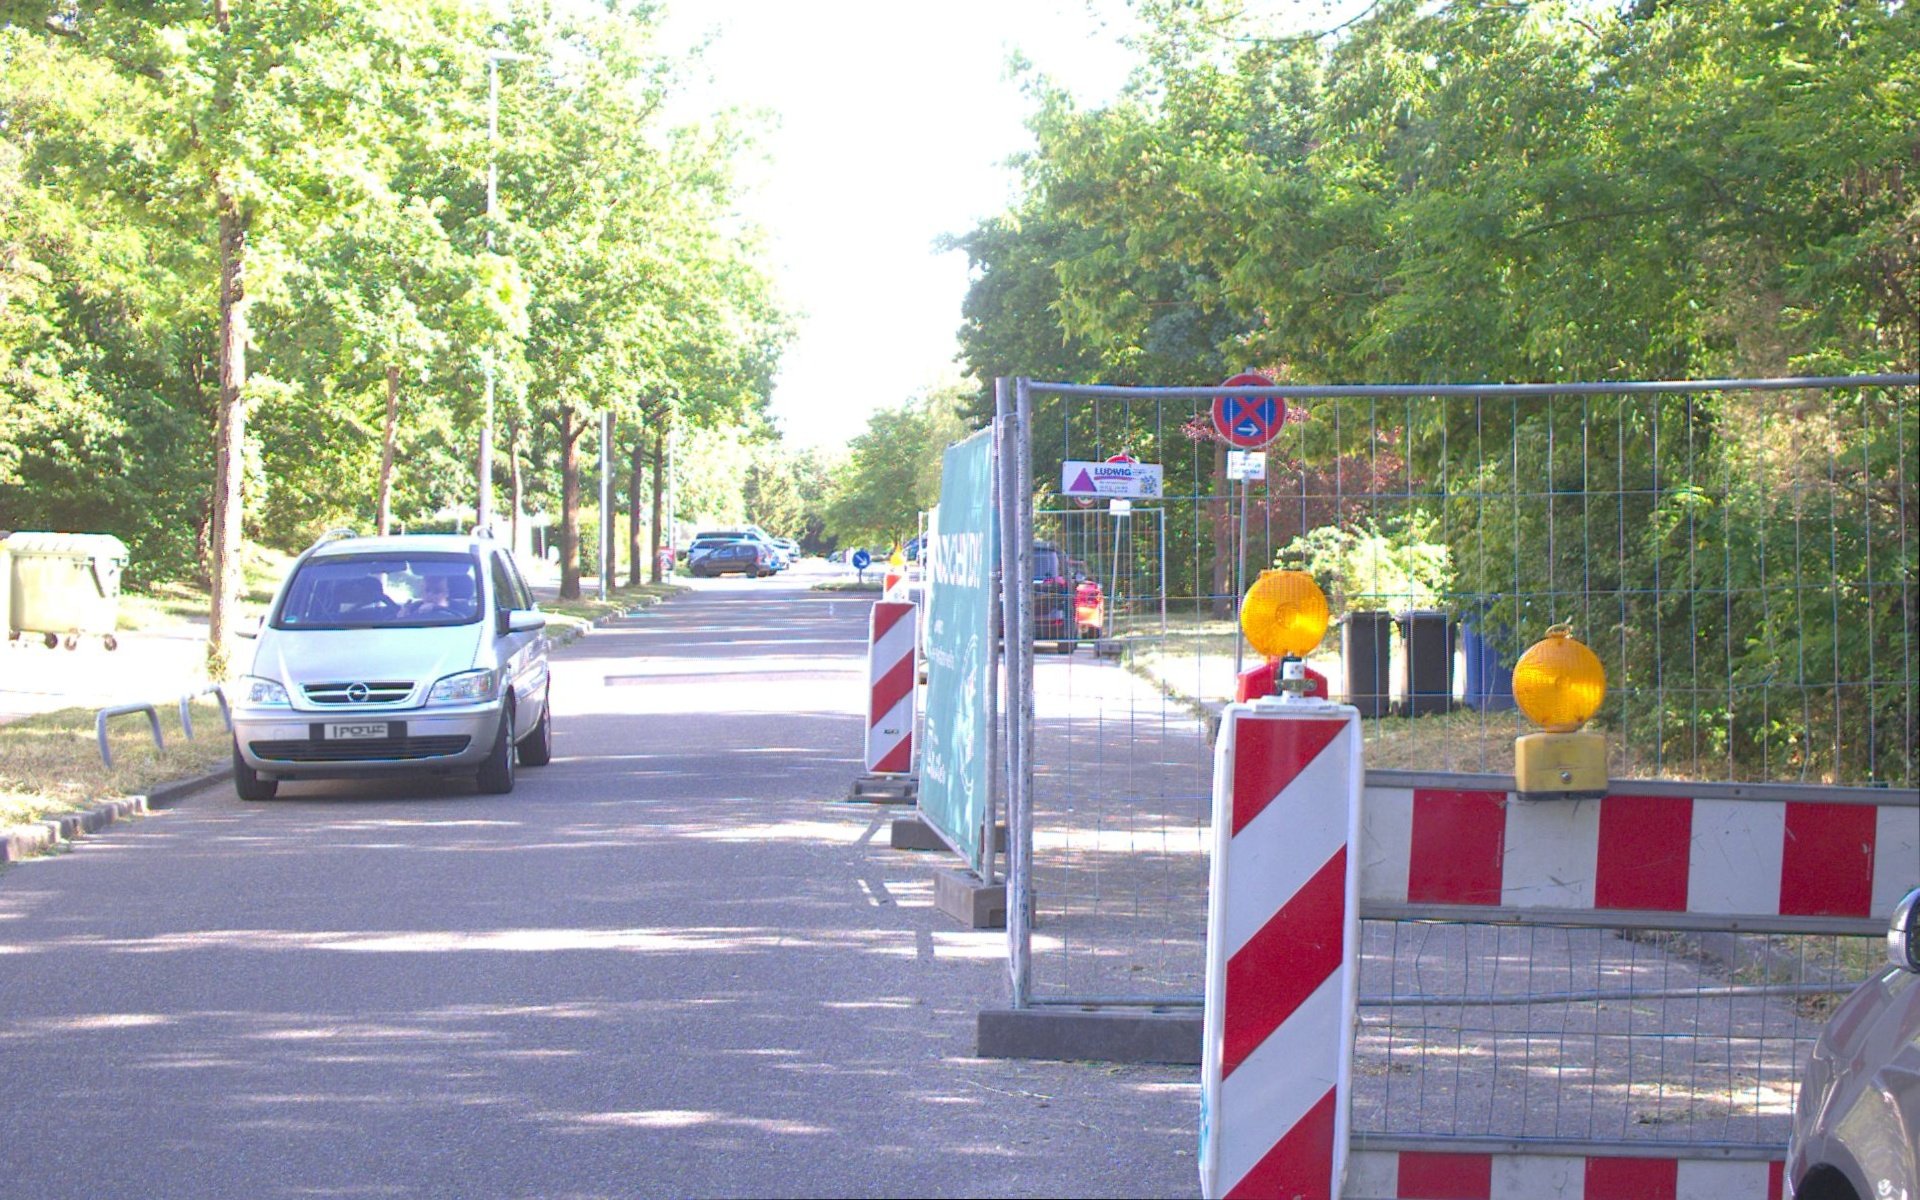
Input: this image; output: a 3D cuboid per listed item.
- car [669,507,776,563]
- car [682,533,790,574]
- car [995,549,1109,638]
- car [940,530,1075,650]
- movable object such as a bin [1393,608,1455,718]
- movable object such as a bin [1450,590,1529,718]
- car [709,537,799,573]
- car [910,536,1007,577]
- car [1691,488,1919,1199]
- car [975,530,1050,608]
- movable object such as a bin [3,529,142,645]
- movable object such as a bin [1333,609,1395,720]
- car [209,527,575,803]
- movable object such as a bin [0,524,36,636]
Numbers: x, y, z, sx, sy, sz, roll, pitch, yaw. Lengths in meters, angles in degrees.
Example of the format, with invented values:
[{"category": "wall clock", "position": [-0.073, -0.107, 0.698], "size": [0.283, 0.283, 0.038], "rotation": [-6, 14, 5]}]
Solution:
[{"category": "car", "position": [-11.974, -3.263, 173.021], "size": [5.199, 2.612, 2.294], "rotation": [2, 1, -6]}, {"category": "car", "position": [-9.630, -1.992, 147.816], "size": [4.319, 1.571, 2.046], "rotation": [2, 1, 6]}, {"category": "car", "position": [1.523, -0.136, 58.309], "size": [1.661, 1.371, 4.155], "rotation": [2, 1, -2]}, {"category": "car", "position": [0.759, -0.176, 51.488], "size": [1.810, 1.645, 4.420], "rotation": [2, 1, 3]}, {"category": "movable object such as a bin", "position": [3.741, 0.504, 27.754], "size": [0.413, 0.867, 0.484], "rotation": [-1, 0, -1]}, {"category": "movable object such as a bin", "position": [4.260, 0.429, 27.684], "size": [0.519, 0.996, 0.608], "rotation": [-1, 0, -1]}, {"category": "car", "position": [-9.831, -2.160, 164.120], "size": [4.107, 1.571, 1.958], "rotation": [2, 1, 1]}, {"category": "car", "position": [-0.053, -1.827, 143.434], "size": [3.839, 1.571, 1.688], "rotation": [2, 1, 6]}, {"category": "car", "position": [2.022, 0.715, 3.122], "size": [1.678, 1.616, 4.138], "rotation": [1, 1, -2]}, {"category": "car", "position": [1.251, -0.762, 82.873], "size": [1.623, 1.767, 3.669], "rotation": [2, 1, -1]}, {"category": "movable object such as a bin", "position": [-11.107, -0.176, 43.036], "size": [1.270, 1.430, 1.181], "rotation": [0, 1, 15]}, {"category": "movable object such as a bin", "position": [3.252, 0.516, 27.684], "size": [0.413, 0.867, 0.484], "rotation": [-1, 0, -1]}, {"category": "car", "position": [-3.574, 0.346, 22.264], "size": [1.659, 1.590, 4.009], "rotation": [-1, 1, 0]}, {"category": "movable object such as a bin", "position": [-12.779, -0.268, 44.653], "size": [1.141, 1.430, 1.273], "rotation": [0, 1, -35]}]
